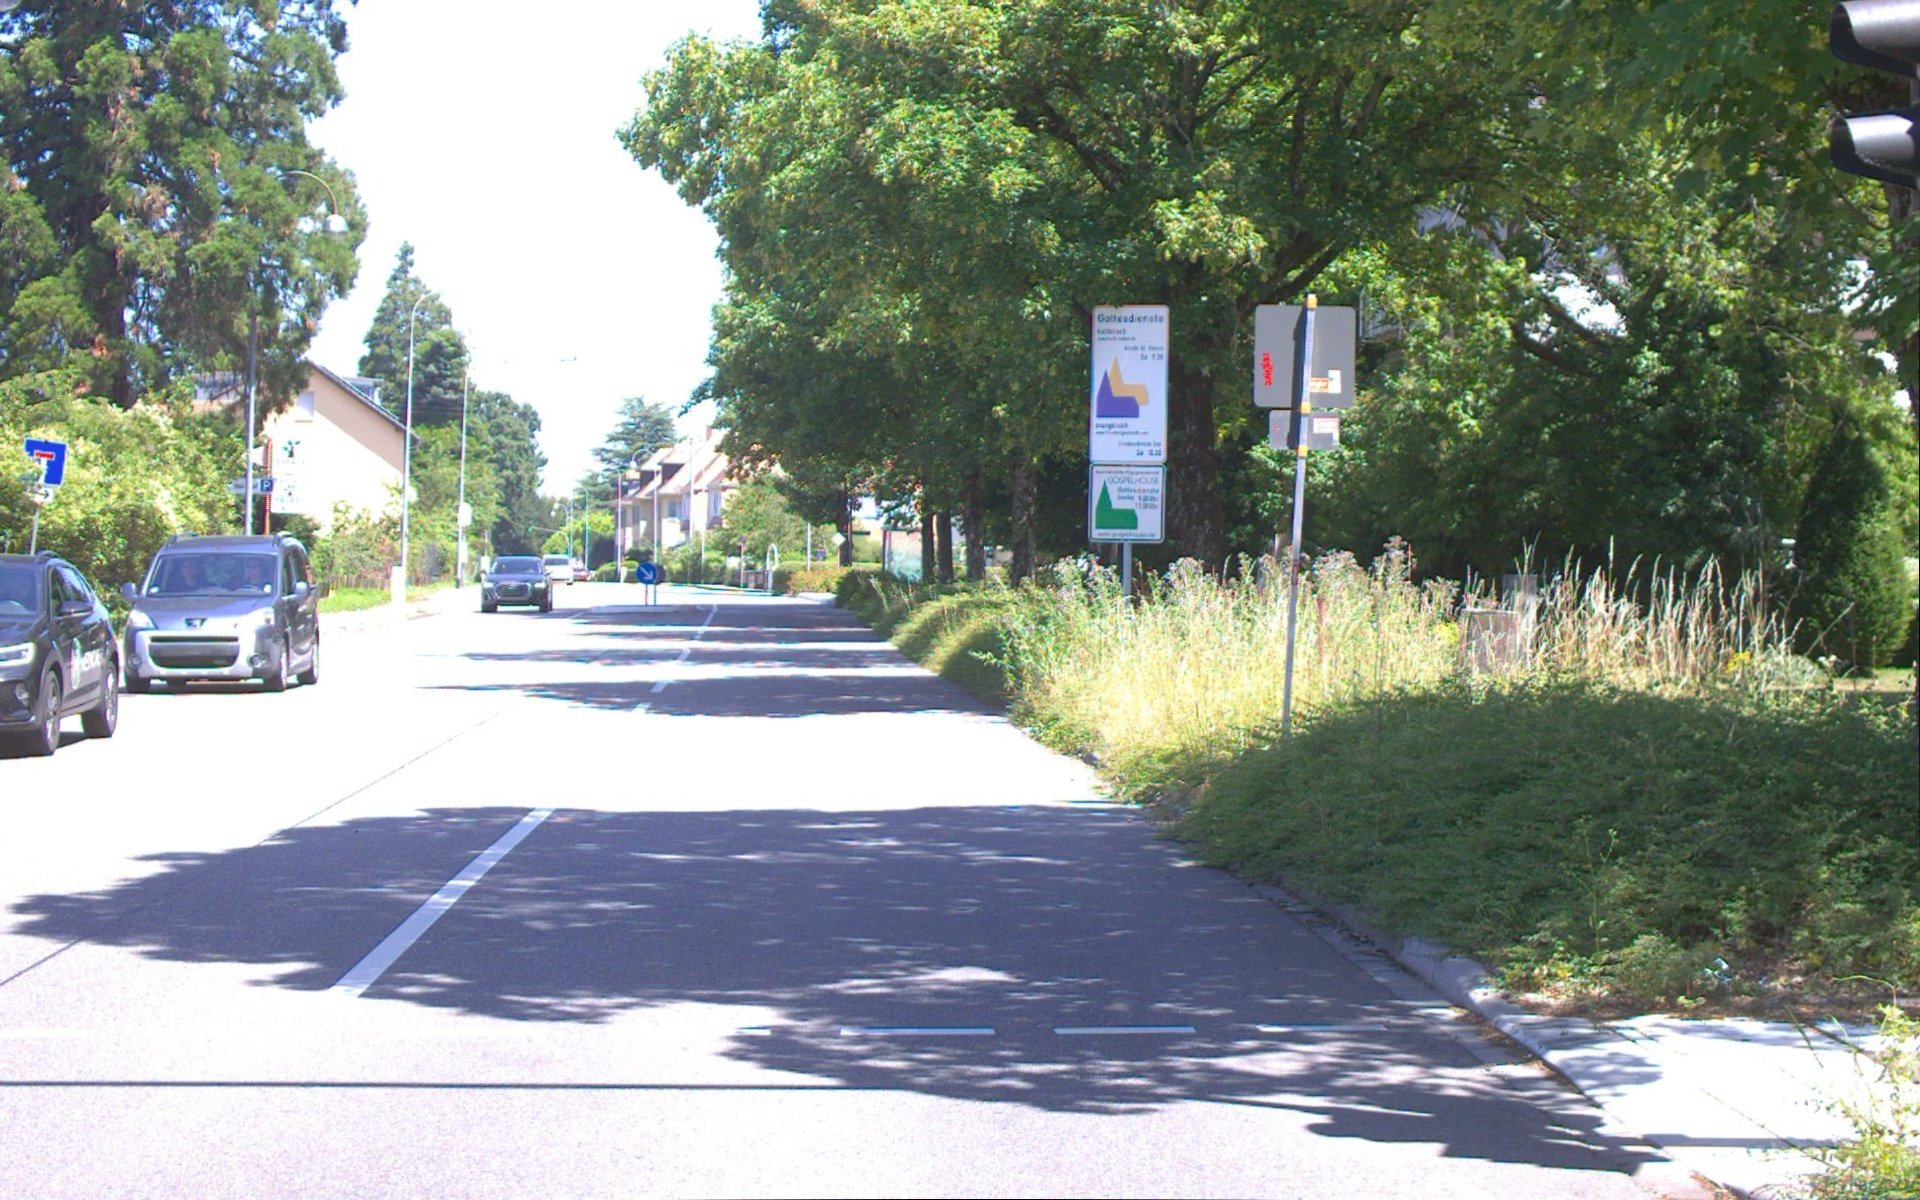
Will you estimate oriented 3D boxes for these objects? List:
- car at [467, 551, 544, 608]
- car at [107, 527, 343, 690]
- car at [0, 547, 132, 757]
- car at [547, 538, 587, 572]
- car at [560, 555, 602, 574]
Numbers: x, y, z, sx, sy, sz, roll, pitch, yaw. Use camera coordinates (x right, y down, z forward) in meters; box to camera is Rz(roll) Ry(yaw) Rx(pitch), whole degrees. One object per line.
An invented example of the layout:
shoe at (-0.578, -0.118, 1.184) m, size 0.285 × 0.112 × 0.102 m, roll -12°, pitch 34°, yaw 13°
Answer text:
car at (-12.722, -0.588, 96.483) m, size 1.793 × 1.531 × 4.316 m, roll 0°, pitch 1°, yaw -3°
car at (-8.362, 0.061, 39.491) m, size 1.811 × 1.756 × 4.570 m, roll 0°, pitch 1°, yaw -1°
car at (-7.668, 0.343, 26.560) m, size 1.869 × 1.501 × 4.053 m, roll 0°, pitch 1°, yaw -5°
car at (-20.969, -2.415, 183.553) m, size 1.912 × 1.683 × 4.126 m, roll 1°, pitch 1°, yaw -4°
car at (-26.359, -2.466, 239.061) m, size 1.943 × 1.355 × 4.465 m, roll 0°, pitch 1°, yaw -19°
